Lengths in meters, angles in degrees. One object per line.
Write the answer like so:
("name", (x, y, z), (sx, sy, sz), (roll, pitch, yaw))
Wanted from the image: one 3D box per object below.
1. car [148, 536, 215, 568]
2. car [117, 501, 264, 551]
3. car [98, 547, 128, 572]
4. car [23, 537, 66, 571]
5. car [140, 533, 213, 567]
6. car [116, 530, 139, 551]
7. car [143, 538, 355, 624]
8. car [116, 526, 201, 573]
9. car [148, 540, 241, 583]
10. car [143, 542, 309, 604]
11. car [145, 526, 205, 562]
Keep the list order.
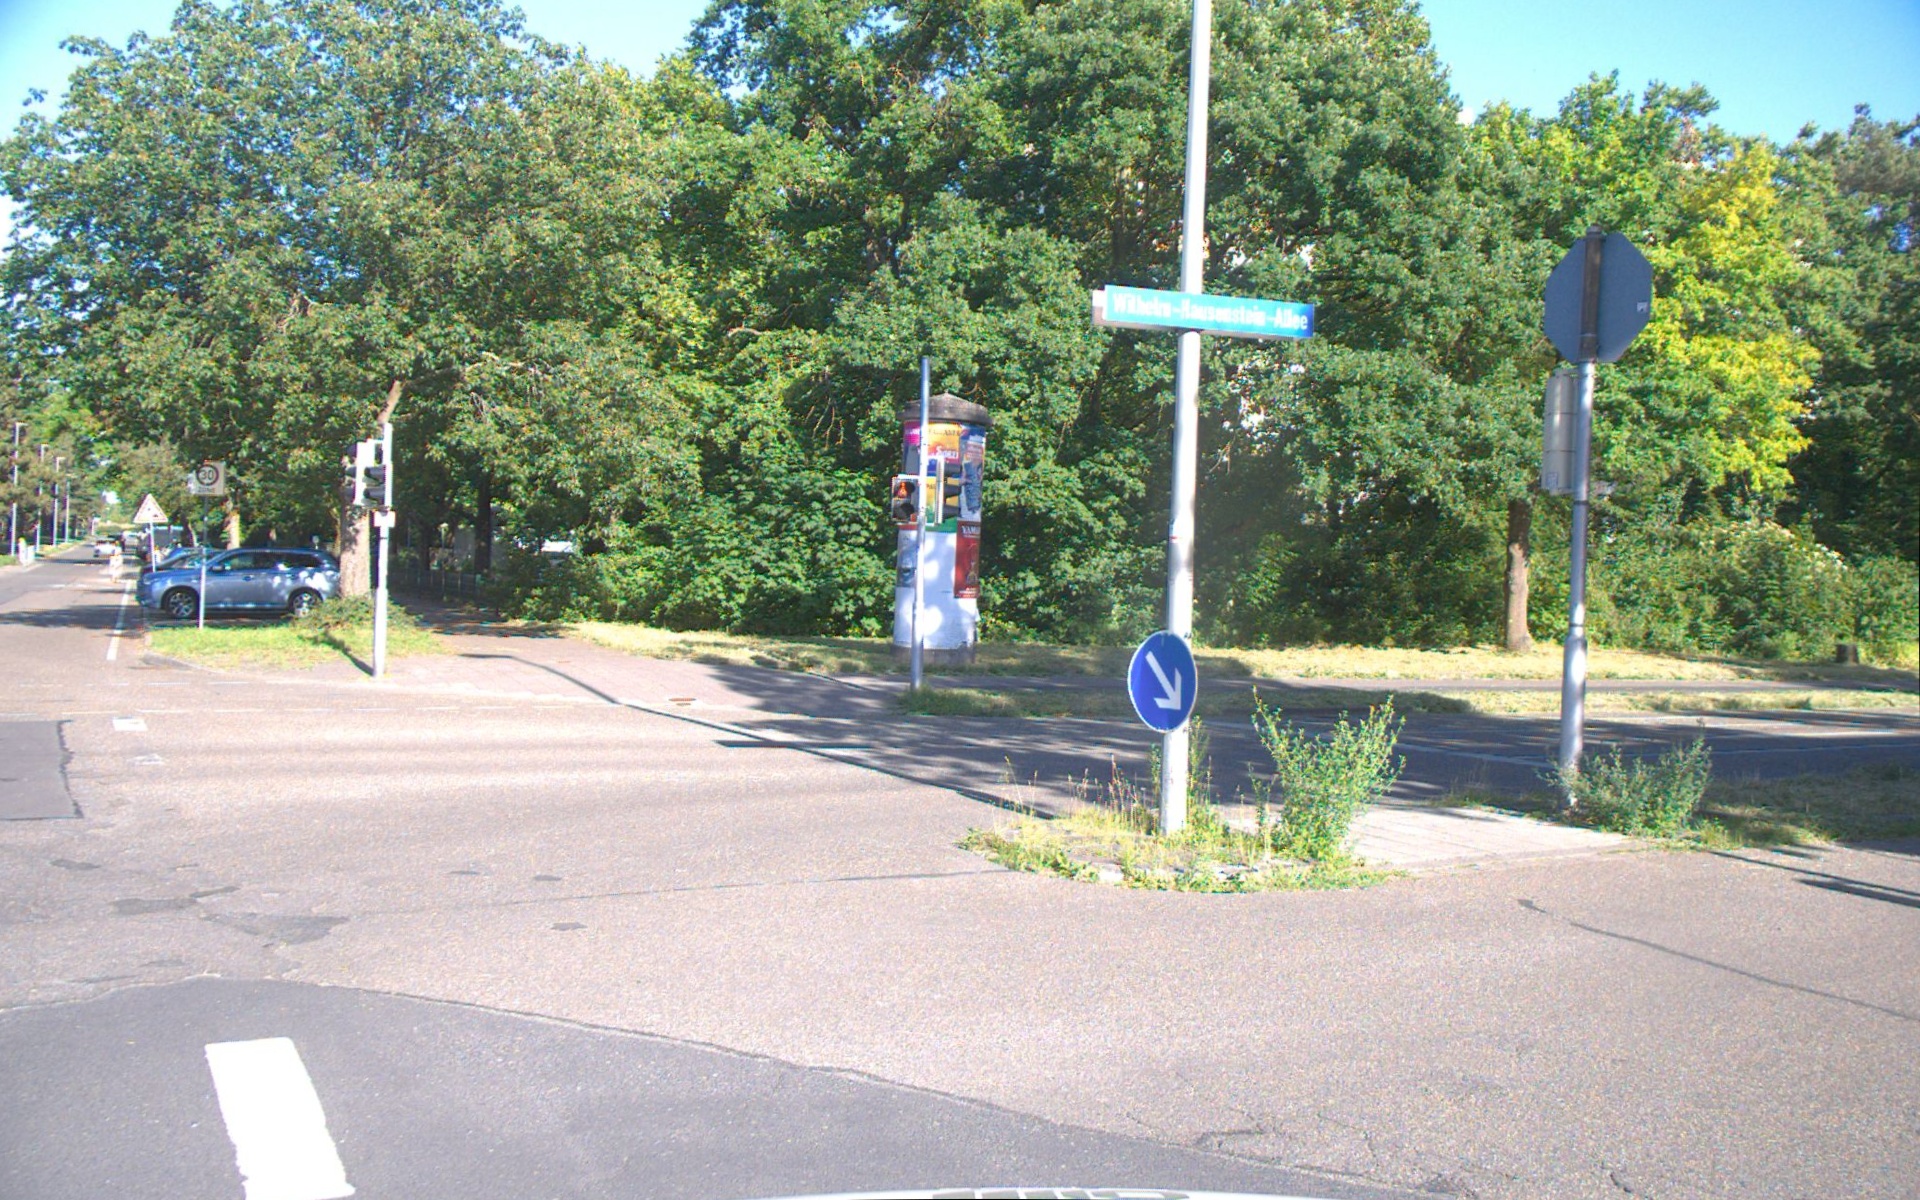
("car", (-50.210, -3.064, 106.682), (3.773, 1.798, 1.847), (3, 0, -27))
("car", (-32.760, -3.122, 70.531), (5.547, 1.713, 1.931), (3, 0, -27))
("car", (-67.582, -3.236, 131.985), (1.969, 1.847, 3.967), (3, 0, -26))
("car", (-55.251, -2.760, 99.838), (1.969, 1.847, 3.967), (3, 0, -26))
("car", (-51.780, -3.308, 109.380), (4.250, 1.941, 1.847), (3, 0, -27))
("car", (-83.437, -5.943, 165.808), (1.969, 1.847, 3.967), (3, 0, -26))
("car", (-16.736, -0.440, 39.063), (4.440, 1.814, 1.841), (2, 0, -25))
("car", (-40.931, -2.541, 84.513), (3.773, 2.135, 1.847), (3, -1, -27))
("car", (-35.283, -1.749, 76.241), (3.773, 1.713, 1.847), (3, 0, -27))
("car", (-22.112, -0.810, 49.947), (4.440, 1.658, 1.841), (2, 0, -25))
("car", (-56.729, -4.020, 119.571), (3.773, 2.339, 1.847), (3, -1, -27))
